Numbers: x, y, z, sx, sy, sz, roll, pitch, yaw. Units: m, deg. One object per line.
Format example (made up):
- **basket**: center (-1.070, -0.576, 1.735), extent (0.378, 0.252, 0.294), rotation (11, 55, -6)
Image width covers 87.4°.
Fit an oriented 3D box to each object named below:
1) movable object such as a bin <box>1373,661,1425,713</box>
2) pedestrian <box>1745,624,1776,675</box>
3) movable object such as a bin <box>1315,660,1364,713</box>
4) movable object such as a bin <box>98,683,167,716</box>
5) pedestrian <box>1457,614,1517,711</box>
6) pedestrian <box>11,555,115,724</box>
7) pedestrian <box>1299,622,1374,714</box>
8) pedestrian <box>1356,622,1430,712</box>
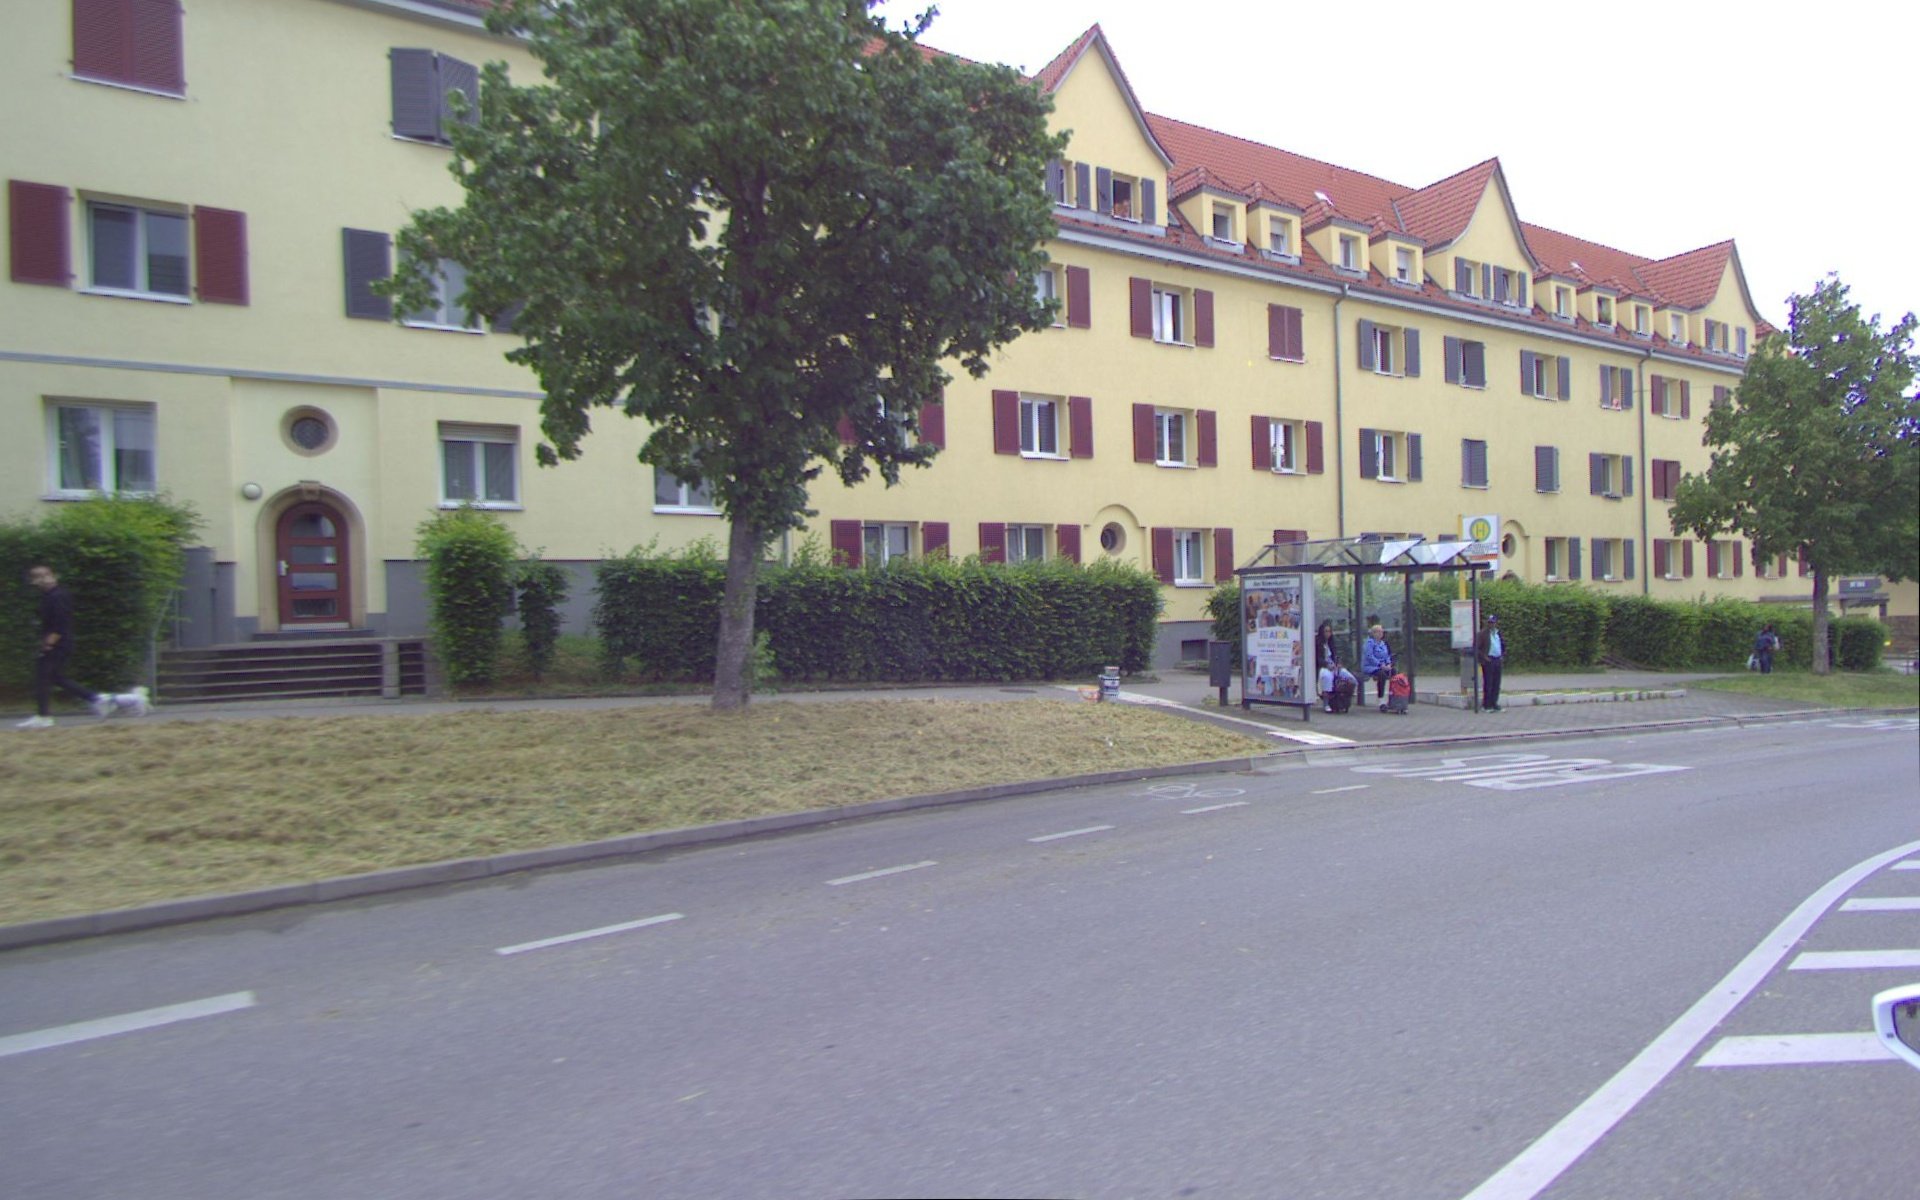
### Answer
- **movable object such as a bin**: center (7.700, 1.519, 17.626), extent (0.657, 0.857, 0.534), rotation (1, 1, -29)
- **pedestrian**: center (26.199, 1.599, 32.871), extent (0.611, 1.640, 0.637), rotation (1, -1, -31)
- **movable object such as a bin**: center (6.430, 1.458, 17.024), extent (0.657, 0.837, 0.462), rotation (1, 1, -29)
- **movable object such as a bin**: center (-9.910, 1.190, 12.039), extent (0.573, 0.352, 0.305), rotation (1, -1, -25)
- **pedestrian**: center (9.739, 1.139, 18.574), extent (0.850, 1.750, 0.595), rotation (1, 0, -27)
- **pedestrian**: center (-9.880, 0.427, 11.085), extent (0.744, 1.803, 0.511), rotation (1, -1, -30)
- **pedestrian**: center (6.419, 1.134, 17.142), extent (0.797, 1.493, 0.895), rotation (1, 1, -29)
- **pedestrian**: center (7.665, 1.161, 17.788), extent (0.797, 1.530, 0.895), rotation (1, 1, -29)
